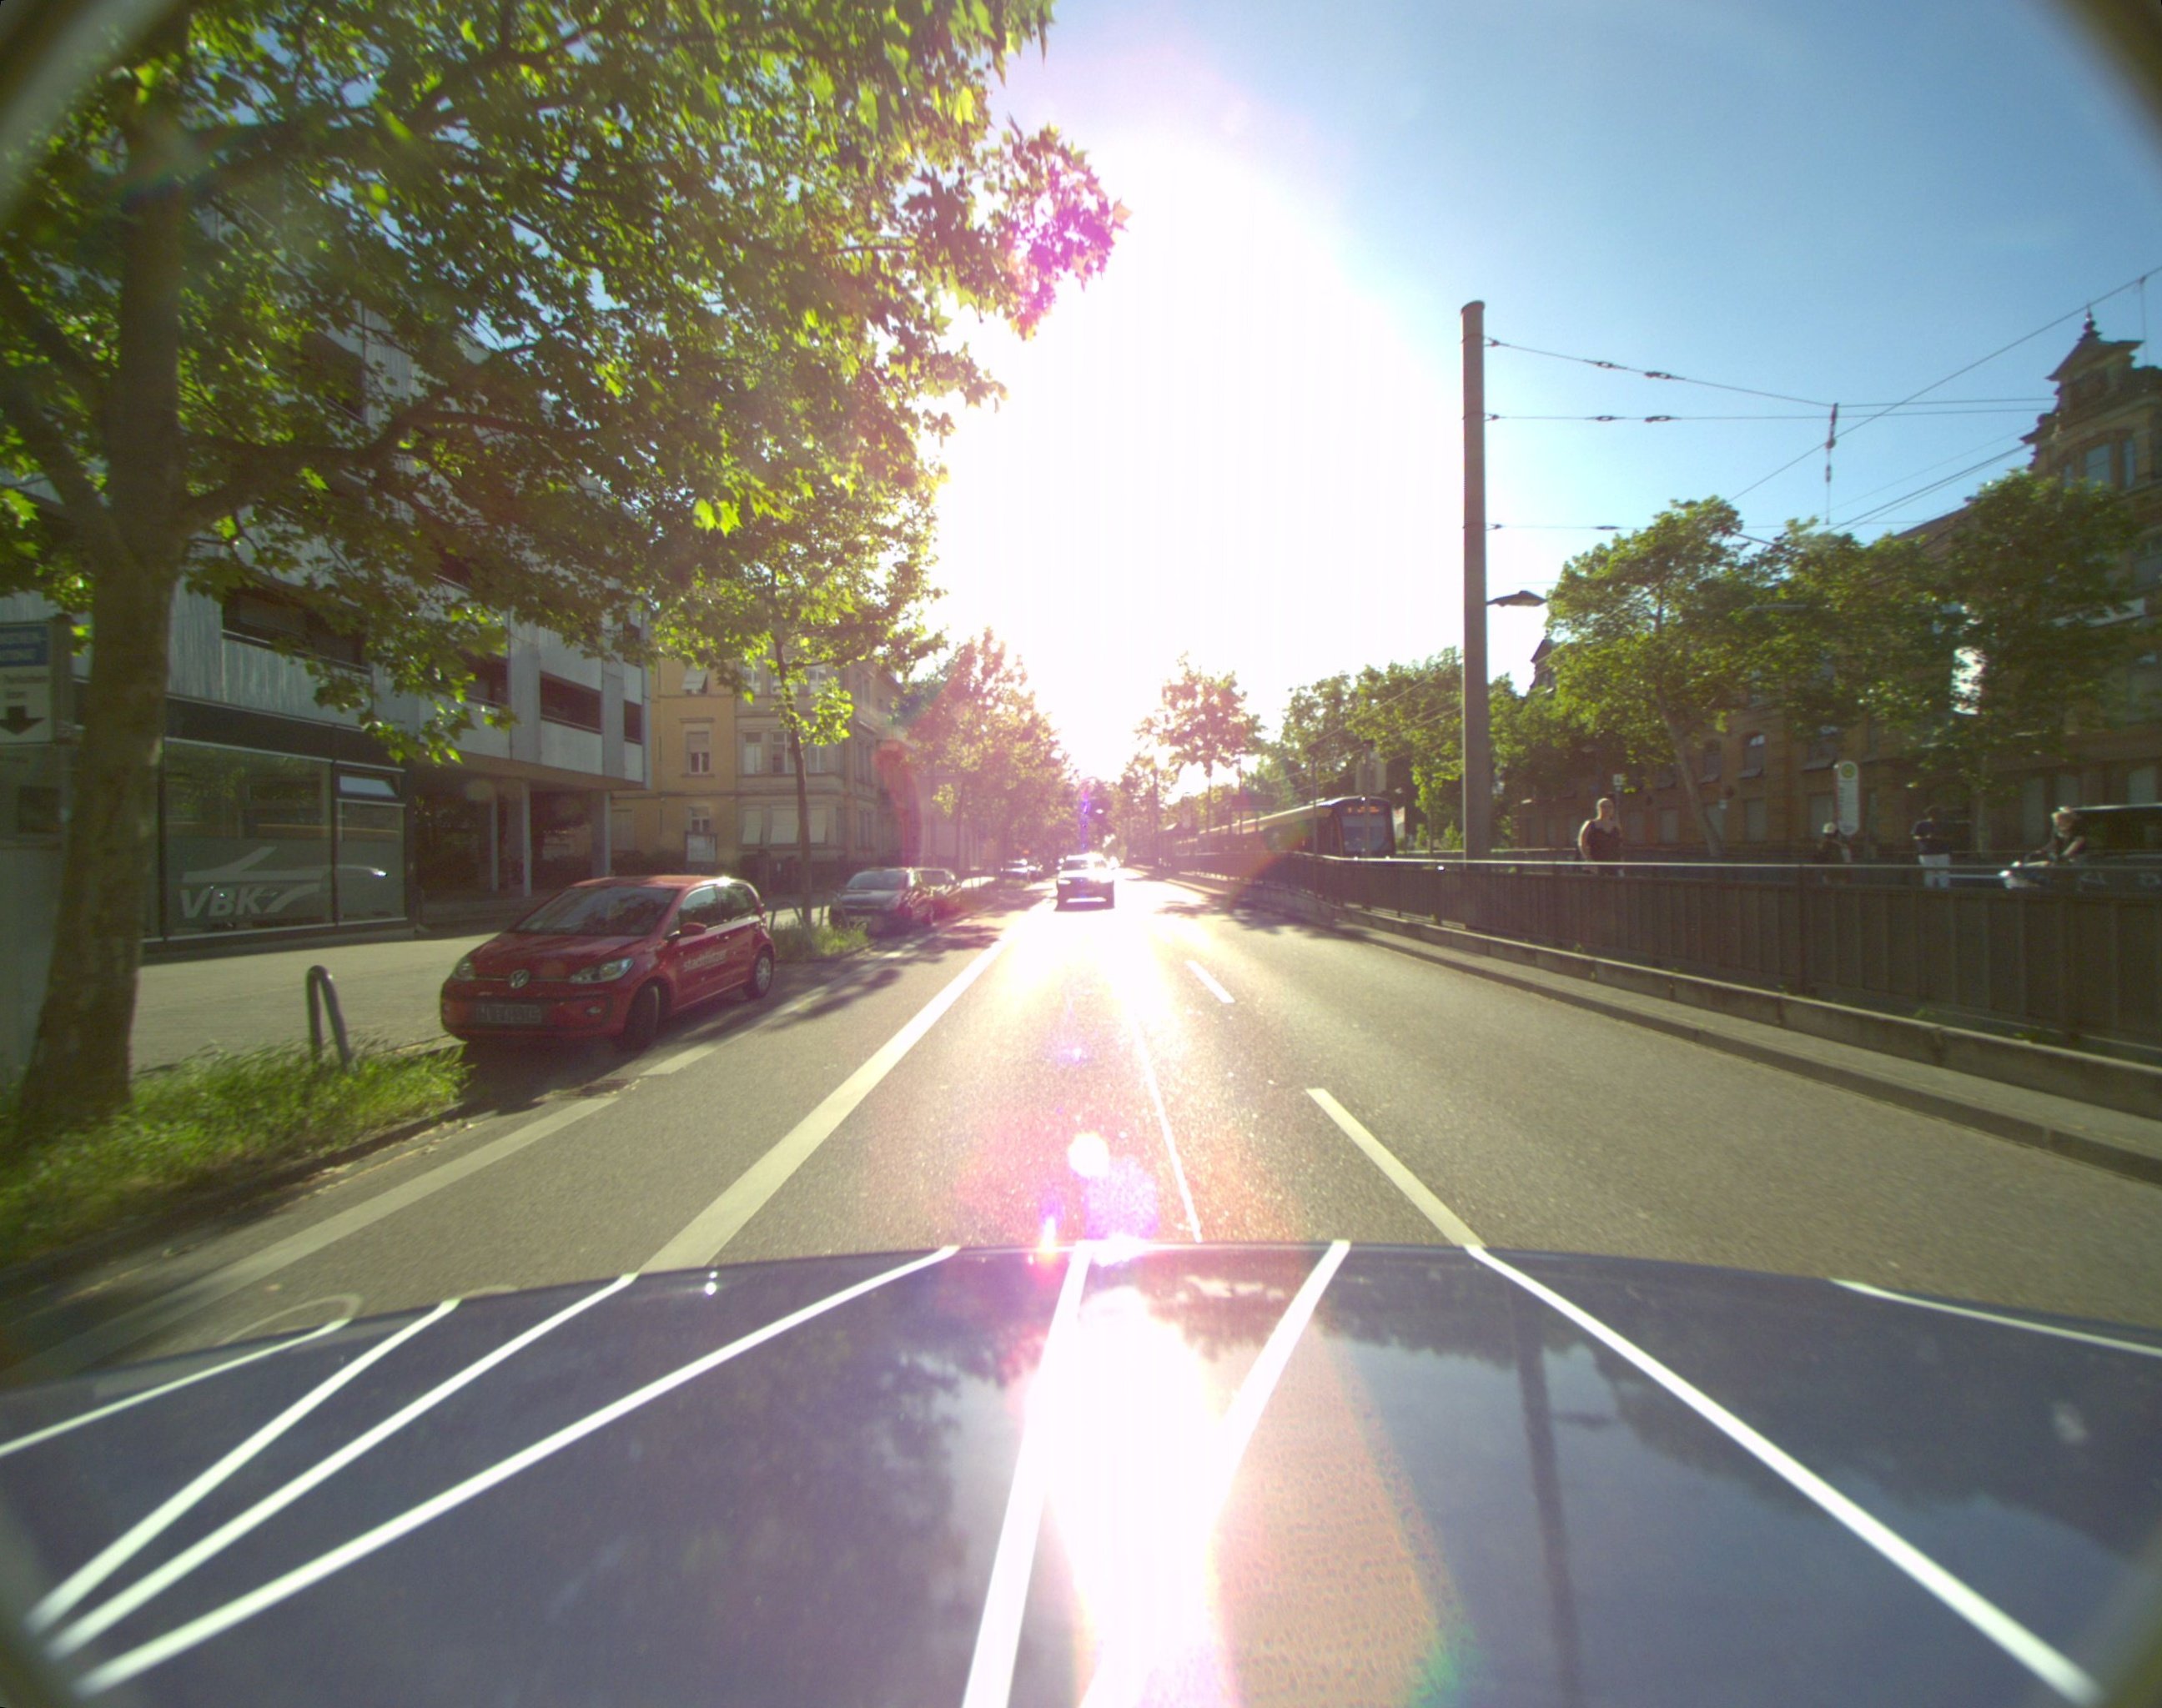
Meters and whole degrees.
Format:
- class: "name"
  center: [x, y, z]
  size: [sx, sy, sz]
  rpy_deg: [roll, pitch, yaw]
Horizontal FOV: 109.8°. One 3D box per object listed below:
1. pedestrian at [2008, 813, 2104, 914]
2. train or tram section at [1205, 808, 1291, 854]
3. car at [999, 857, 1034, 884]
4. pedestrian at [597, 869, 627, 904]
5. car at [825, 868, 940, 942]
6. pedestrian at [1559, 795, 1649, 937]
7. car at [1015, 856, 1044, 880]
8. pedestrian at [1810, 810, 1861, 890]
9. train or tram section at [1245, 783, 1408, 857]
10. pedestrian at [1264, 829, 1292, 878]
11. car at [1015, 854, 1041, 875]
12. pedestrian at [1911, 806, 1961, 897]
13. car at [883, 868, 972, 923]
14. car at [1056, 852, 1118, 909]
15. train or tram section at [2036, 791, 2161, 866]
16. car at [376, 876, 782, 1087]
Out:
- class: "pedestrian"
  center: [17.473, 0.161, 13.630]
  size: [0.676, 1.746, 0.813]
  rpy_deg: [-1, 1, -2]
- class: "train or tram section"
  center: [10.561, -1.327, 49.989]
  size: [2.569, 2.517, 15.072]
  rpy_deg: [-1, 0, 1]
- class: "car"
  center: [-4.129, 1.025, 49.102]
  size: [1.839, 1.556, 4.273]
  rpy_deg: [-2, 0, 1]
- class: "pedestrian"
  center: [-15.454, 1.061, 25.045]
  size: [0.560, 1.103, 0.684]
  rpy_deg: [0, 1, 1]
- class: "car"
  center: [-4.484, 1.098, 17.744]
  size: [1.630, 1.433, 3.930]
  rpy_deg: [0, 0, 1]
- class: "pedestrian"
  center: [6.524, 0.144, 9.500]
  size: [0.683, 1.700, 0.624]
  rpy_deg: [-1, 1, 0]
- class: "car"
  center: [-3.908, 1.071, 58.615]
  size: [1.839, 1.666, 4.273]
  rpy_deg: [-2, 0, 1]
- class: "pedestrian"
  center: [17.231, -0.083, 17.360]
  size: [0.625, 1.791, 0.624]
  rpy_deg: [0, 1, -25]
- class: "train or tram section"
  center: [10.333, -1.235, 34.608]
  size: [2.569, 2.549, 15.674]
  rpy_deg: [-1, 0, 1]
- class: "pedestrian"
  center: [6.602, -0.018, 25.511]
  size: [0.700, 1.626, 0.761]
  rpy_deg: [-1, 1, 1]
- class: "car"
  center: [-4.599, 0.898, 66.405]
  size: [1.839, 1.666, 4.273]
  rpy_deg: [-1, 0, 1]
- class: "pedestrian"
  center: [17.304, -0.043, 15.377]
  size: [0.625, 1.791, 0.624]
  rpy_deg: [0, 1, -40]
- class: "car"
  center: [-4.539, 1.177, 23.129]
  size: [1.781, 1.373, 4.276]
  rpy_deg: [-1, 0, 1]
- class: "car"
  center: [0.205, 0.838, 26.364]
  size: [1.914, 1.695, 4.273]
  rpy_deg: [-2, 1, 1]
- class: "train or tram section"
  center: [34.404, -0.809, 22.305]
  size: [2.651, 2.314, 8.077]
  rpy_deg: [-1, 0, 1]
- class: "car"
  center: [-4.602, 1.042, 7.713]
  size: [1.677, 1.430, 3.689]
  rpy_deg: [1, 1, 0]
